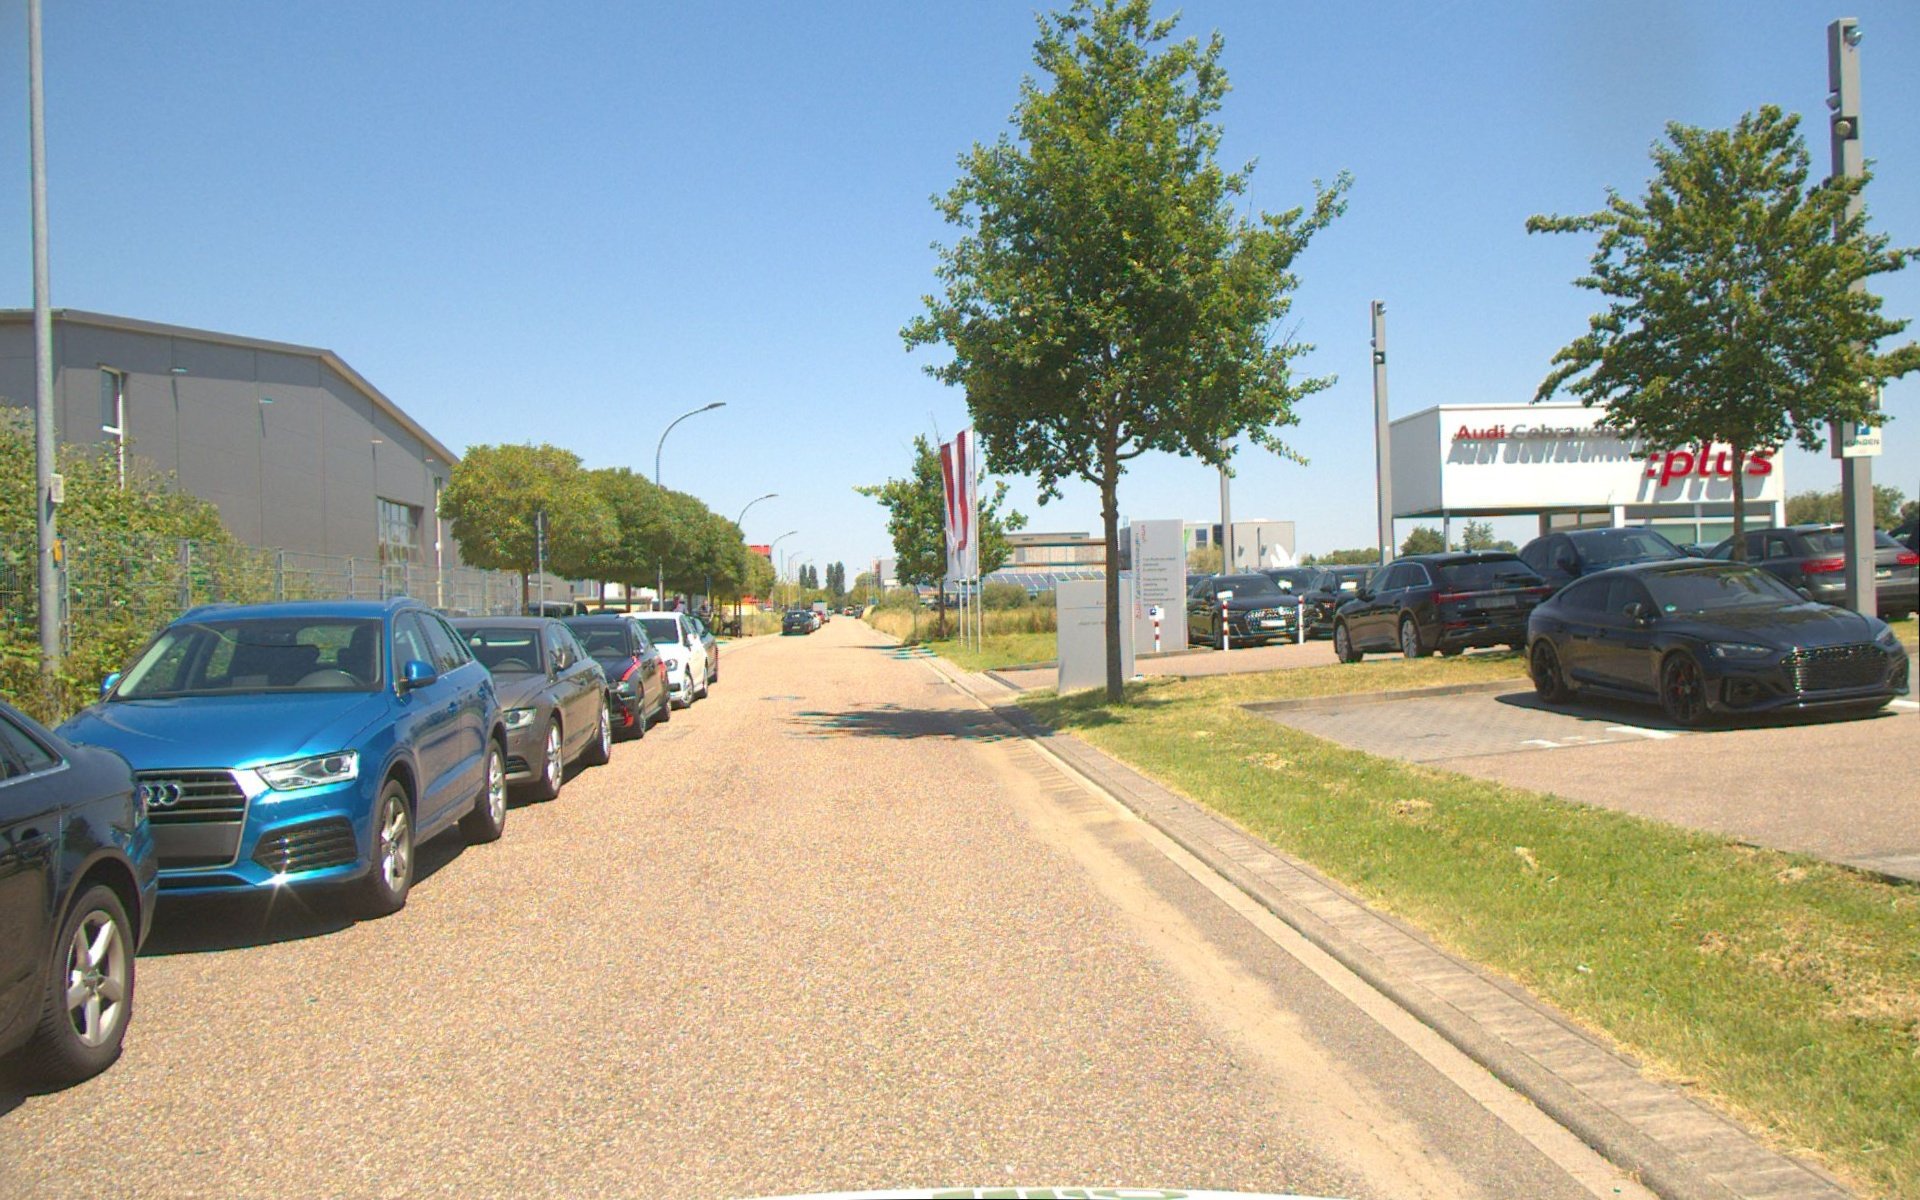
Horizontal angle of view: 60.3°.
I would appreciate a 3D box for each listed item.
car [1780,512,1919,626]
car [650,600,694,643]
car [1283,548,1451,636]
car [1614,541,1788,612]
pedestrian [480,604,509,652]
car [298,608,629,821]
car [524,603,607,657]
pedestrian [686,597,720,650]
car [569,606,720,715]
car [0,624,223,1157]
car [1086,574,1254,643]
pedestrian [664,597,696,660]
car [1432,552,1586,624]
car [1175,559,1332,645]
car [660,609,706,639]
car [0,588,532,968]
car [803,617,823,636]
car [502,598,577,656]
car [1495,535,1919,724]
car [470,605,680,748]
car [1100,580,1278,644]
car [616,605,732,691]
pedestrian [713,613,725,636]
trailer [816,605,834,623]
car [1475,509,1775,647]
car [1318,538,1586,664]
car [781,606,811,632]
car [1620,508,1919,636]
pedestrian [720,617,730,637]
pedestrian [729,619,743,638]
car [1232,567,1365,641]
[{"bbox_3d":[14.070,-0.476,23.604,1.923,1.482,4.981,-3,-2,-4],"label":"car"},{"bbox_3d":[-14.433,1.053,83.005,1.802,2.054,5.119,1,-1,-6],"label":"car"},{"bbox_3d":[8.607,-0.135,35.539,1.859,1.600,5.471,-4,0,-4],"label":"car"},{"bbox_3d":[18.935,-0.552,42.531,1.985,1.617,4.775,-3,0,-4],"label":"car"},{"bbox_3d":[-17.102,1.038,60.774,0.823,1.743,0.964,0,-1,-4],"label":"pedestrian"},{"bbox_3d":[-4.170,0.868,14.670,1.788,1.526,4.516,-2,0,-4],"label":"car"},{"bbox_3d":[-12.171,0.901,51.262,1.730,1.601,4.536,0,0,-3],"label":"car"},{"bbox_3d":[-9.784,0.897,63.018,0.826,2.007,0.961,0,-1,36],"label":"pedestrian"},{"bbox_3d":[-4.895,0.889,26.195,1.788,1.526,4.255,-2,0,-4],"label":"car"},{"bbox_3d":[-3.551,0.846,4.006,1.789,1.480,4.576,-2,0,-5],"label":"car"},{"bbox_3d":[6.091,0.254,48.188,4.442,1.722,2.028,-3,0,-6],"label":"car"},{"bbox_3d":[-8.185,0.830,48.380,0.729,1.833,1.134,1,-1,-2],"label":"pedestrian"},{"bbox_3d":[13.780,-0.268,41.823,1.985,1.617,4.775,-3,0,-4],"label":"car"},{"bbox_3d":[6.108,0.057,35.109,1.985,1.540,5.235,-4,0,-4],"label":"car"},{"bbox_3d":[-14.845,1.308,88.842,1.888,1.466,4.837,-2,-2,-3],"label":"car"},{"bbox_3d":[-3.742,0.791,9.409,1.789,1.598,4.382,-2,0,-5],"label":"car"},{"bbox_3d":[-13.352,2.397,150.272,1.752,1.547,3.979,-2,0,-4],"label":"car"},{"bbox_3d":[-11.713,0.743,46.272,1.651,1.526,3.697,-1,0,-9],"label":"car"},{"bbox_3d":[7.045,0.203,15.857,1.923,1.390,4.717,-5,1,-4],"label":"car"},{"bbox_3d":[-4.663,0.863,20.668,1.788,1.526,4.516,-2,0,-4],"label":"car"},{"bbox_3d":[6.246,0.338,45.463,4.442,1.482,2.029,-3,0,-6],"label":"car"},{"bbox_3d":[-5.572,0.893,32.692,1.788,1.526,4.521,-2,0,-4],"label":"car"},{"bbox_3d":[-13.003,1.327,89.318,0.468,1.170,0.555,1,-3,6],"label":"pedestrian"},{"bbox_3d":[-16.434,1.712,201.527,2.157,2.175,4.281,-2,-1,-4],"label":"trailer"},{"bbox_3d":[9.322,-0.220,23.722,1.923,1.626,4.981,-3,-2,-4],"label":"car"},{"bbox_3d":[6.732,0.108,23.314,1.923,1.482,4.981,-3,-2,-4],"label":"car"},{"bbox_3d":[-10.654,1.236,107.675,1.889,1.595,4.185,-2,0,-5],"label":"car"},{"bbox_3d":[11.621,-0.313,23.754,1.923,1.482,4.981,-3,-2,-4],"label":"car"},{"bbox_3d":[-14.310,1.649,100.794,0.495,1.212,0.752,2,-1,-2],"label":"pedestrian"},{"bbox_3d":[-13.500,1.718,99.775,0.735,1.118,0.646,2,-1,0],"label":"pedestrian"},{"bbox_3d":[8.313,0.111,41.044,1.985,1.617,4.775,-3,0,-4],"label":"car"}]
